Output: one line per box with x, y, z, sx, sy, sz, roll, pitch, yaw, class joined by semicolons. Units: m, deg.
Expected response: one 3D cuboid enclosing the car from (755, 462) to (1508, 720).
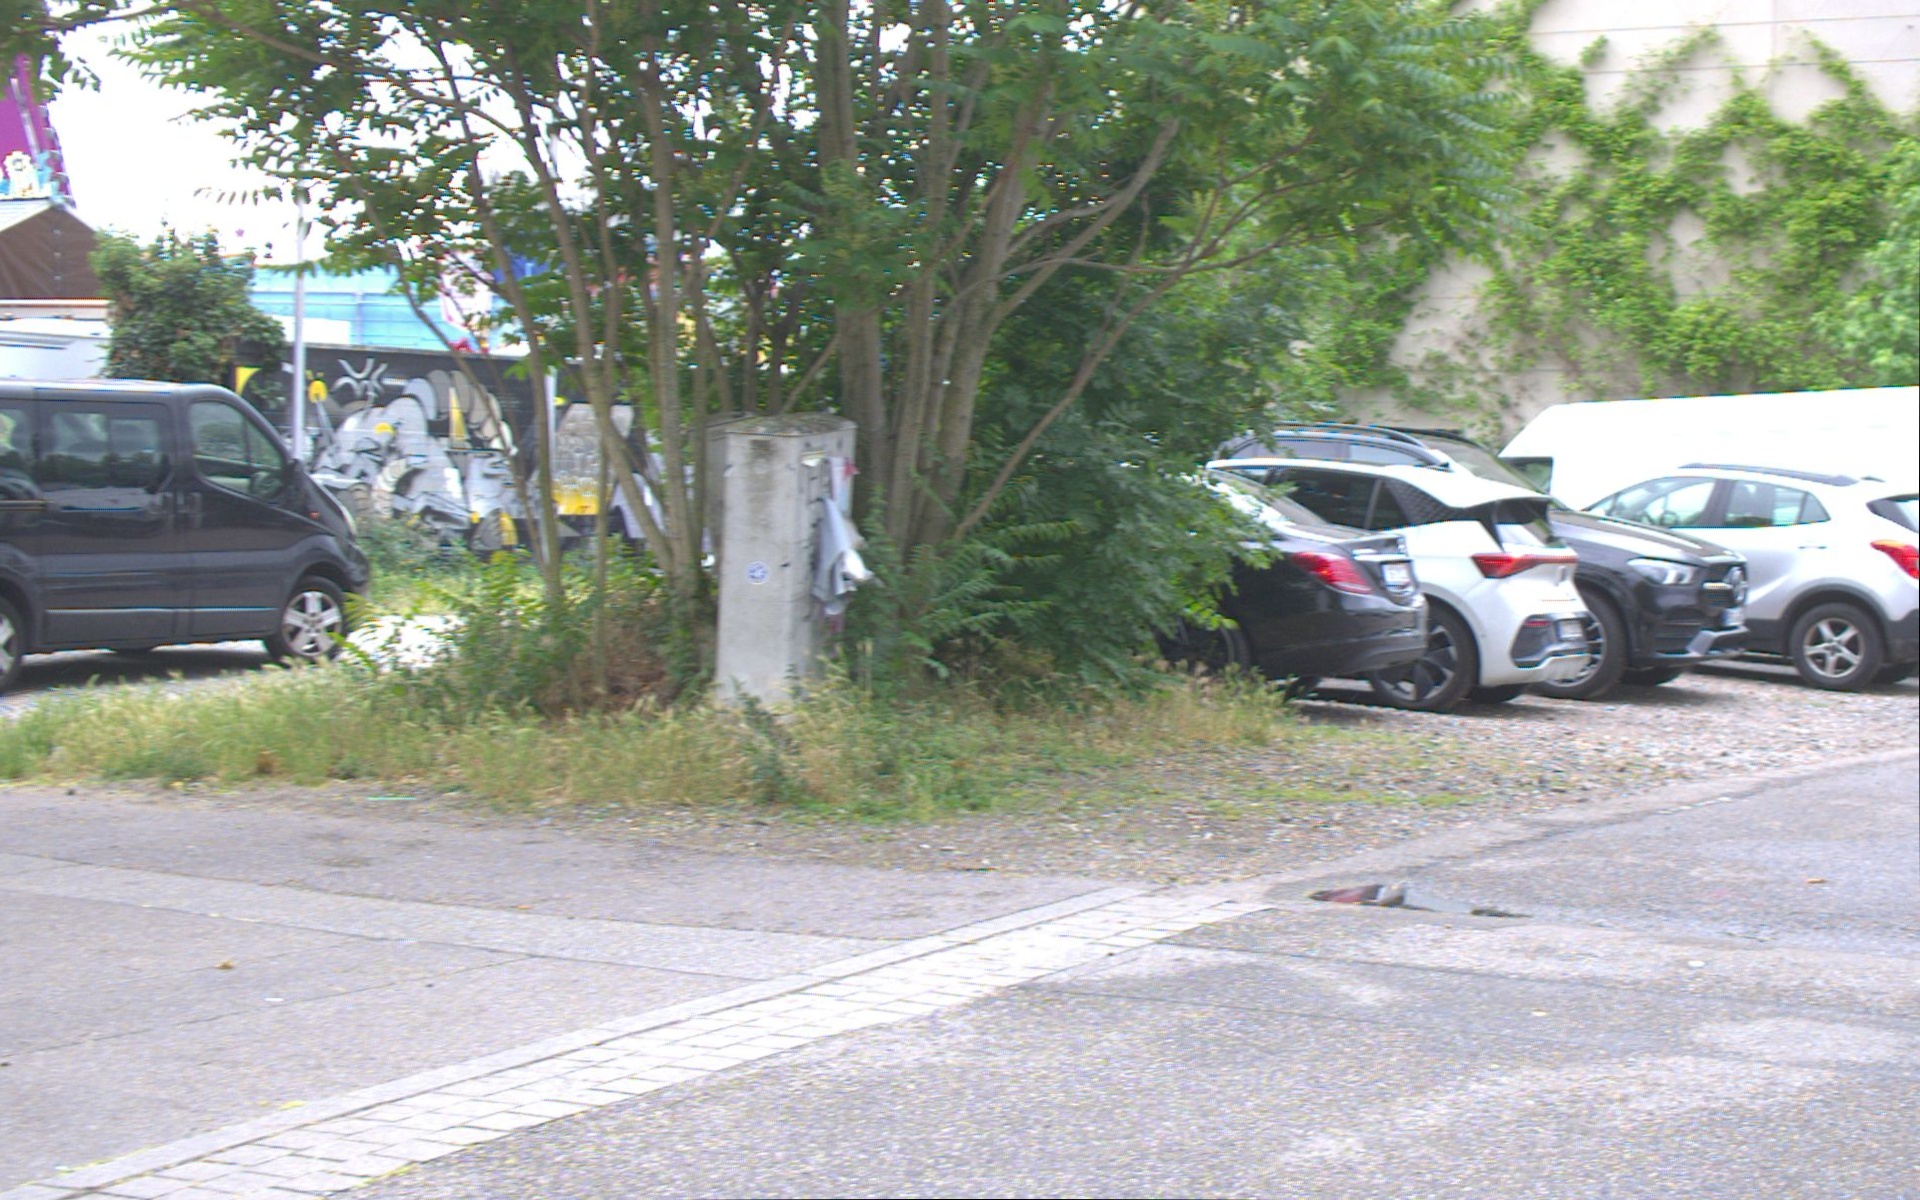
1.003;-0.076;20.343;3.993;1.345;1.888;2;0;29;car

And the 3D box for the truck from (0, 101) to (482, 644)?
-7.175;-1.673;26.025;2.596;3.809;8.205;2;3;29;truck

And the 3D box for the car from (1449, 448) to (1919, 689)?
6.087;-0.277;26.917;3.994;1.638;1.888;4;3;28;car

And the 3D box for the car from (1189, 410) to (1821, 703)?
3.861;-0.365;24.464;3.994;1.872;1.888;3;3;29;car

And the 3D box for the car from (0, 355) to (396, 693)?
-5.876;-0.565;22.162;1.997;2.006;4.581;3;4;29;car

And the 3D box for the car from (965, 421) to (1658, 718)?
2.270;-0.246;22.349;3.994;1.638;1.888;4;3;28;car

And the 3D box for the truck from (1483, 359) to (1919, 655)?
8.403;-0.954;34.371;5.850;2.718;2.051;4;3;34;truck
